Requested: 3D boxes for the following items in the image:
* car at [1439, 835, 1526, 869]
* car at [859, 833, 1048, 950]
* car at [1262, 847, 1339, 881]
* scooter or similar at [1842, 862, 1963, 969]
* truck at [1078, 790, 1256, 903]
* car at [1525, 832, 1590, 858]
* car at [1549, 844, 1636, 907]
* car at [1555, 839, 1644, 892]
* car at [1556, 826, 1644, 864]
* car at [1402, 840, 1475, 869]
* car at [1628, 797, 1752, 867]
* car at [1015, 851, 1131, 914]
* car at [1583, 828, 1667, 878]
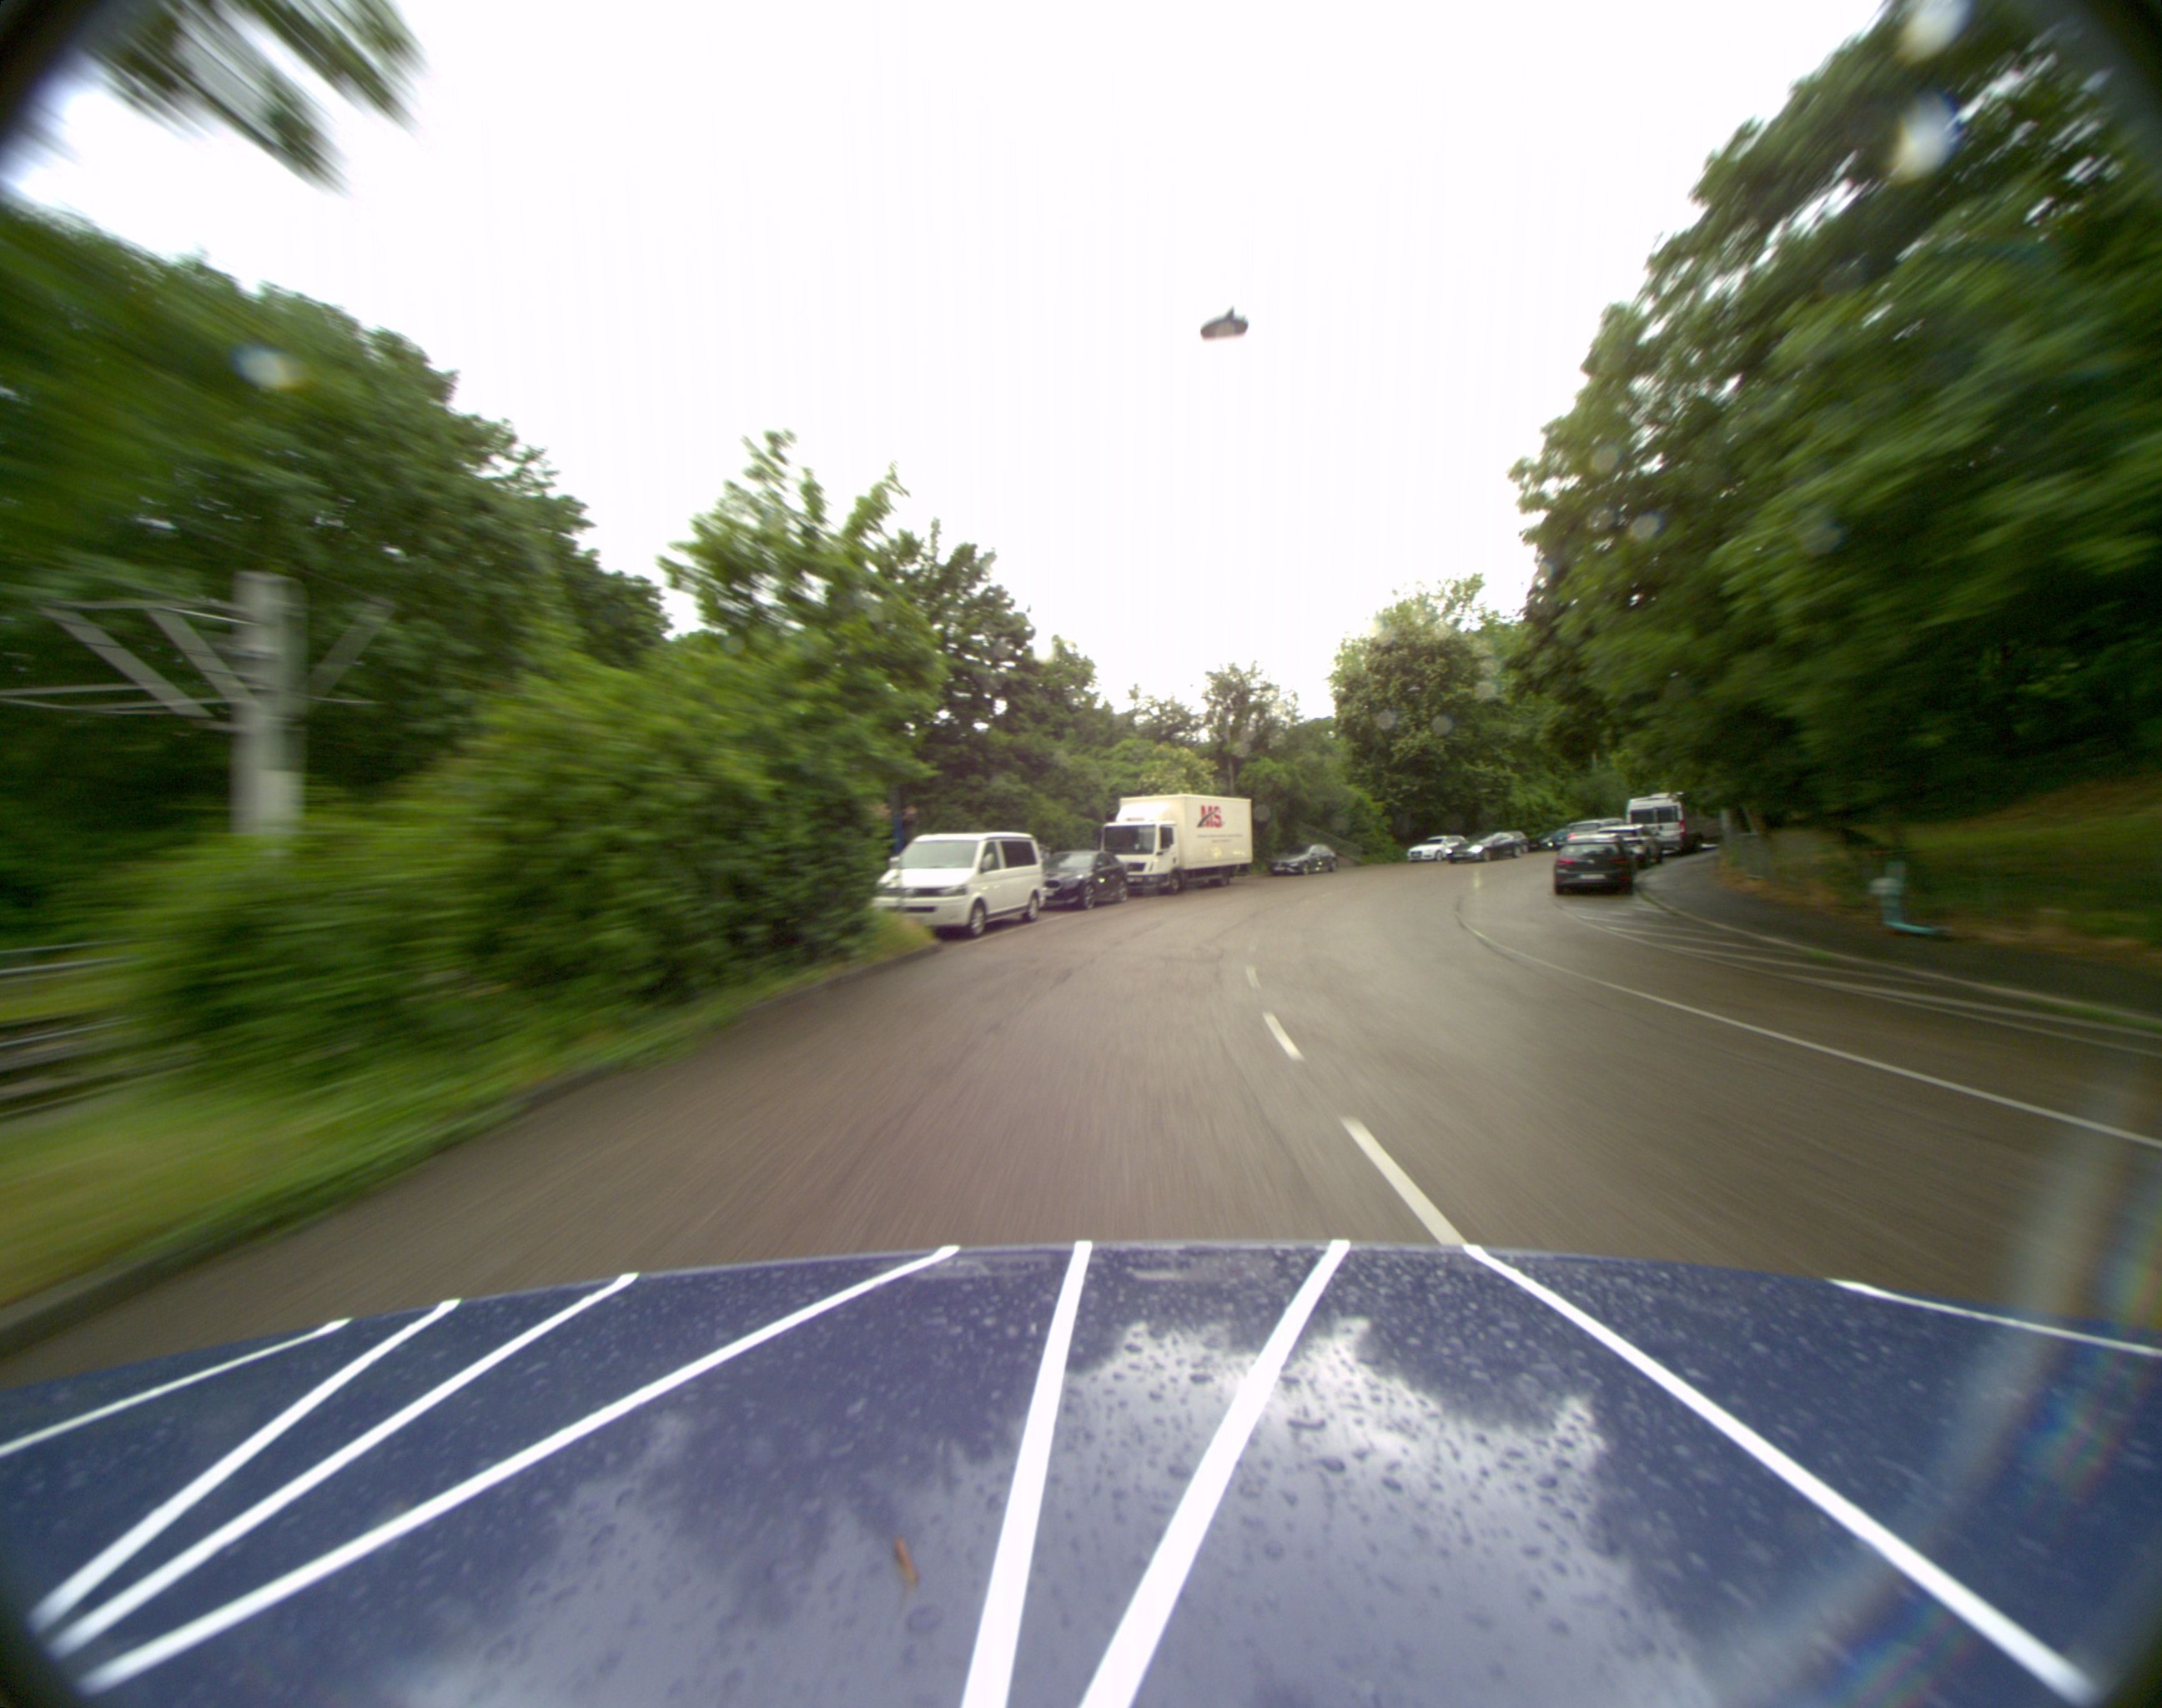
[{"bbox_3d":[20.520,-0.096,38.802,4.507,1.530,1.895,-3,0,-32],"label":"car"},{"bbox_3d":[-2.331,0.597,15.434,1.879,2.002,4.696,-1,1,16],"label":"car"},{"bbox_3d":[10.760,0.489,37.160,4.132,1.435,1.721,-3,0,-44],"label":"car"},{"bbox_3d":[11.098,0.799,10.324,0.609,1.260,1.440,-6,-1,29],"label":"scooter or similar"},{"bbox_3d":[3.513,-0.286,28.307,3.009,3.553,8.352,-2,0,33],"label":"truck"},{"bbox_3d":[31.194,-0.583,49.740,3.825,1.380,1.593,-4,-4,-22],"label":"car"},{"bbox_3d":[14.079,0.544,20.877,1.774,1.434,4.023,-2,1,35],"label":"car"},{"bbox_3d":[17.088,0.340,24.973,1.753,1.448,4.054,-2,1,43],"label":"car"},{"bbox_3d":[25.518,-0.454,37.353,4.315,1.660,1.819,-3,0,-30],"label":"car"},{"bbox_3d":[21.082,0.014,44.804,4.101,1.392,1.758,-3,-2,-29],"label":"car"},{"bbox_3d":[26.229,-1.025,32.665,6.355,2.536,2.075,-5,5,-31],"label":"car"},{"bbox_3d":[-0.095,0.726,21.469,1.720,1.547,4.283,-1,1,22],"label":"car"},{"bbox_3d":[20.516,-0.058,28.594,4.031,1.574,1.805,-6,2,-44],"label":"car"}]
